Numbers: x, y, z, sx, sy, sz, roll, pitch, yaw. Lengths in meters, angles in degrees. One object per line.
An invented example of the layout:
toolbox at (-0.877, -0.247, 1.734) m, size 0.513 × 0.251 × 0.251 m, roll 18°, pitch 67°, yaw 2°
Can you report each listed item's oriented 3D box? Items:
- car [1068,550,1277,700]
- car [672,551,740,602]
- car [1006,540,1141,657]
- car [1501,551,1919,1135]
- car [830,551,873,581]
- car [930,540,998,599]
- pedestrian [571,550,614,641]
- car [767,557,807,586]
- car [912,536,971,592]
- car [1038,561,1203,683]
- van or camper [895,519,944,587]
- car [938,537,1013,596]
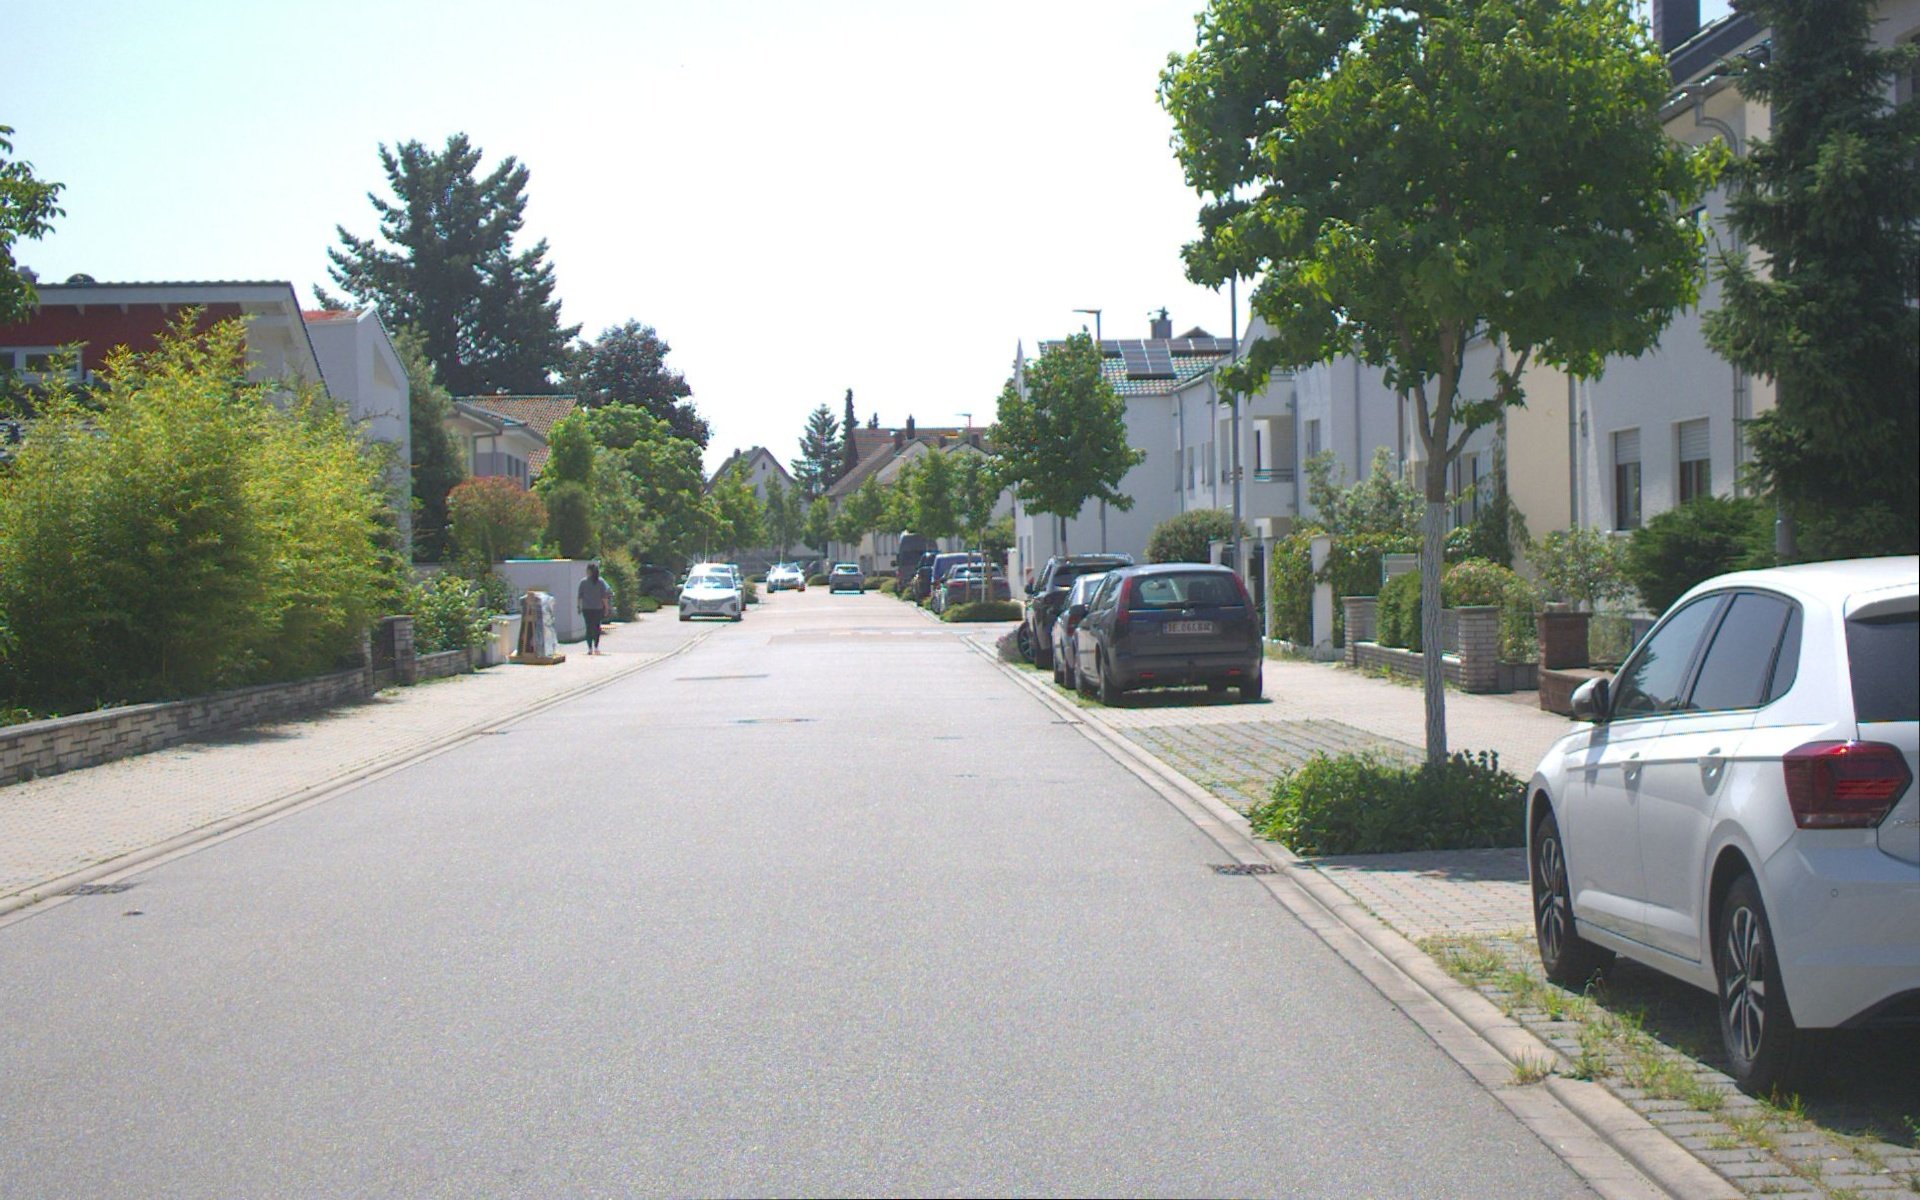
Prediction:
car at (2.291, 0.232, 38.093) m, size 1.741 × 1.528 × 4.449 m, roll -1°, pitch 1°, yaw -4°
car at (-7.727, -0.722, 104.768) m, size 1.852 × 1.483 × 4.385 m, roll -1°, pitch 1°, yaw -2°
car at (1.705, -0.063, 53.067) m, size 1.814 × 1.650 × 4.565 m, roll -1°, pitch 1°, yaw -1°
car at (2.914, 0.577, 10.536) m, size 1.814 × 1.415 × 3.868 m, roll -1°, pitch 1°, yaw -1°
car at (-5.315, -1.679, 168.683) m, size 1.993 × 1.425 × 4.000 m, roll -1°, pitch 1°, yaw 0°
car at (0.105, -1.022, 113.170) m, size 2.099 × 1.875 × 4.843 m, roll -1°, pitch 1°, yaw -1°
pedestrian at (-7.124, -0.100, 66.711) m, size 0.714 × 1.741 × 0.961 m, roll -1°, pitch 1°, yaw -1°
car at (-9.181, -1.516, 182.728) m, size 1.853 × 1.473 × 4.700 m, roll -1°, pitch 1°, yaw 0°
car at (-0.715, -1.345, 127.365) m, size 1.993 × 1.940 × 5.215 m, roll -2°, pitch 1°, yaw -2°
car at (1.997, 0.240, 43.822) m, size 1.814 × 1.415 × 4.093 m, roll -1°, pitch 1°, yaw -1°
van or camper at (-1.810, -2.099, 152.250) m, size 1.993 × 2.931 × 4.000 m, roll -1°, pitch 1°, yaw -2°
car at (0.406, -0.945, 96.527) m, size 1.773 × 1.590 × 4.280 m, roll -1°, pitch 1°, yaw -4°
